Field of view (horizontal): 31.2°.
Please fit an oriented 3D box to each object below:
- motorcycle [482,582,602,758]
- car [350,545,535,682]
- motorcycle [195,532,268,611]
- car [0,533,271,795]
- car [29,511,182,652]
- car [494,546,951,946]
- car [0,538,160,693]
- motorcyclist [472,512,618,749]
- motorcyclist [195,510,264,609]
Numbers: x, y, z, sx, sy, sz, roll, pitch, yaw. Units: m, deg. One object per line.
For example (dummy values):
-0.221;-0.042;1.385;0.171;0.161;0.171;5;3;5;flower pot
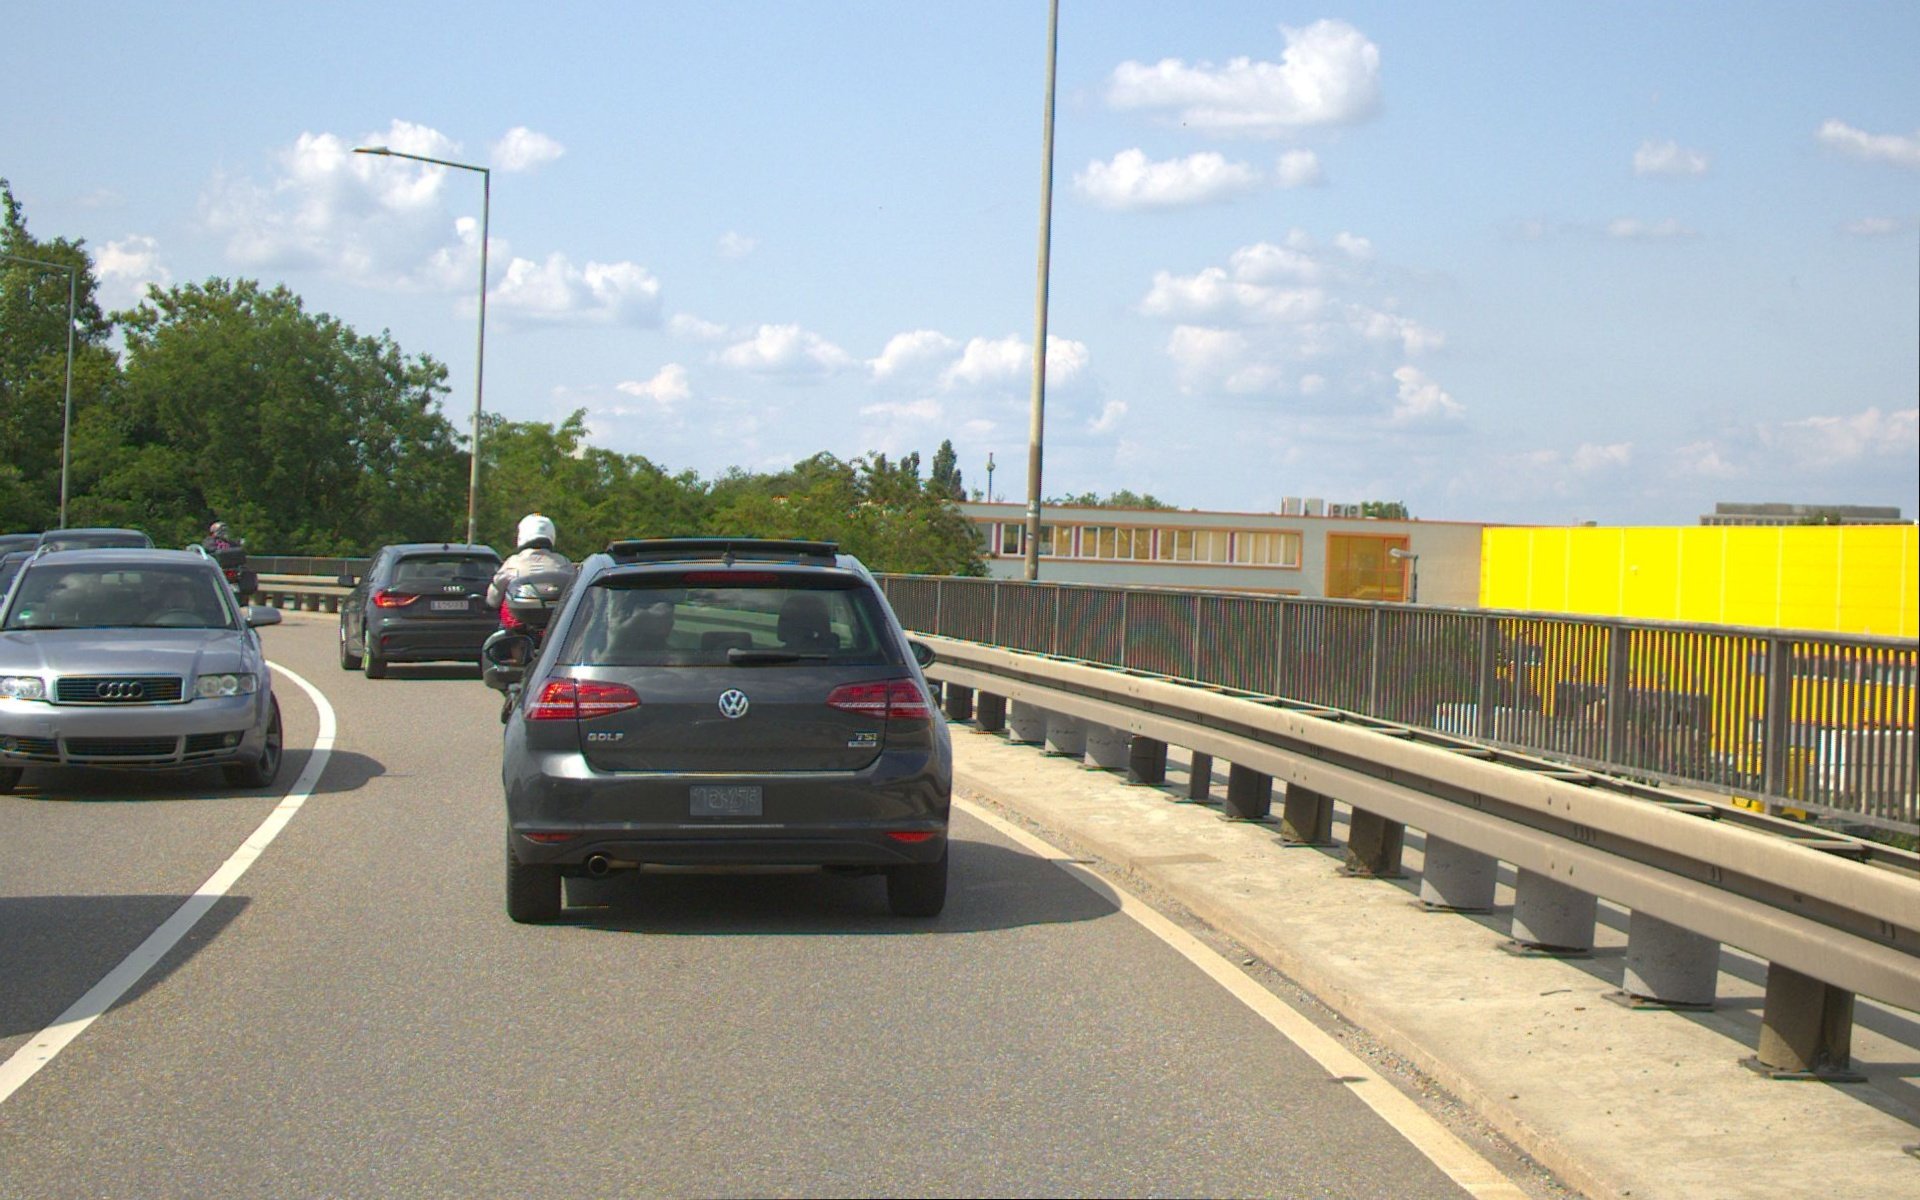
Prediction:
-2.957;0.465;24.182;0.789;1.128;2.400;1;1;-8;motorcycle
-5.580;0.131;36.780;1.681;1.383;3.740;0;0;-13;car
-11.921;-0.471;56.182;0.887;1.243;2.400;0;1;-19;motorcycle
-5.259;0.330;21.658;1.766;1.455;4.299;-1;1;-11;car
-10.369;-0.271;41.558;1.683;1.591;4.284;-1;2;-15;car
-1.136;0.516;14.694;1.642;1.474;3.873;1;1;-8;car
-8.440;0.110;32.595;1.631;1.340;4.255;-1;1;-13;car
-2.927;0.201;24.142;0.965;1.614;1.125;1;1;-8;motorcyclist
-11.981;-0.675;56.367;0.965;1.590;1.125;1;1;-18;motorcyclist
